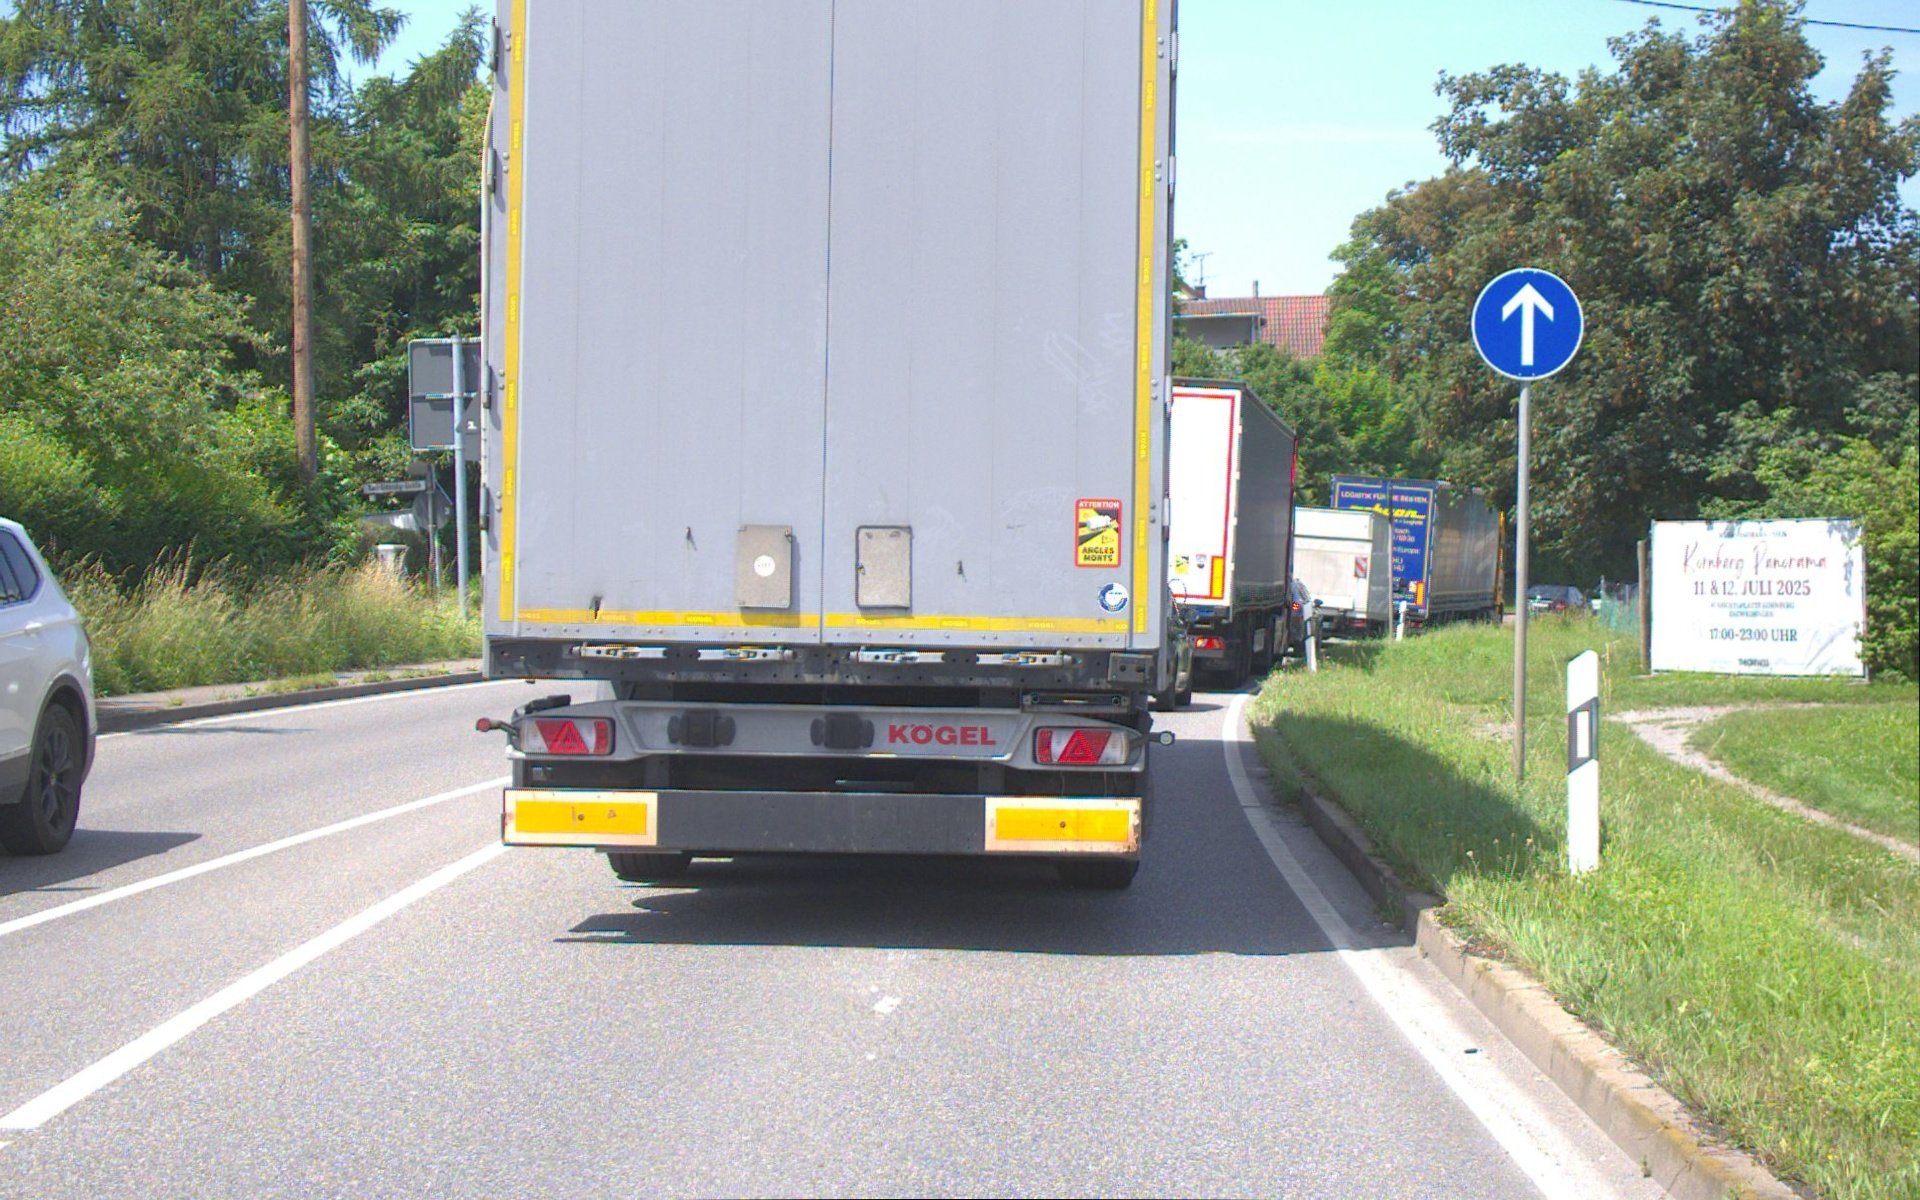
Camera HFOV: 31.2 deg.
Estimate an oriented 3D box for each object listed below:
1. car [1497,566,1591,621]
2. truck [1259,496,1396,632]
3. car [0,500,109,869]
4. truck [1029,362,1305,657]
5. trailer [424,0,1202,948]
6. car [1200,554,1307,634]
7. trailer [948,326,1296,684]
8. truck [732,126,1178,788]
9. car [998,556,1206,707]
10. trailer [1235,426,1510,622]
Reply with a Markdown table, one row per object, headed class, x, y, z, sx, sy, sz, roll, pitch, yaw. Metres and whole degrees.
| class | x | y | z | sx | sy | sz | roll | pitch | yaw |
| --- | --- | --- | --- | --- | --- | --- | --- | --- | --- |
| car | 18.736 | -0.222 | 110.159 | 1.996 | 1.678 | 3.995 | 2 | 1 | 24 |
| truck | 8.140 | -0.820 | 75.714 | 2.422 | 2.828 | 5.409 | 1 | 1 | 12 |
| car | -5.229 | 0.376 | 14.753 | 1.846 | 1.649 | 4.403 | 1 | 1 | 3 |
| truck | 3.562 | -1.462 | 57.040 | 3.938 | 4.559 | 7.149 | 1 | 1 | 8 |
| trailer | -0.206 | -0.990 | 18.550 | 2.787 | 4.191 | 12.110 | 1 | 1 | 3 |
| car | 5.830 | -0.139 | 67.941 | 1.842 | 1.481 | 3.999 | 1 | 1 | 8 |
| trailer | 2.652 | -1.283 | 49.925 | 3.892 | 4.505 | 12.709 | 1 | 1 | 8 |
| truck | 0.154 | -0.976 | 24.858 | 2.746 | 4.151 | 6.142 | 1 | 1 | 4 |
| car | 1.641 | 0.307 | 38.407 | 1.994 | 1.525 | 3.999 | 1 | 1 | 7 |
| trailer | 11.108 | -1.989 | 90.280 | 5.183 | 4.612 | 15.886 | 1 | 1 | 14 |
